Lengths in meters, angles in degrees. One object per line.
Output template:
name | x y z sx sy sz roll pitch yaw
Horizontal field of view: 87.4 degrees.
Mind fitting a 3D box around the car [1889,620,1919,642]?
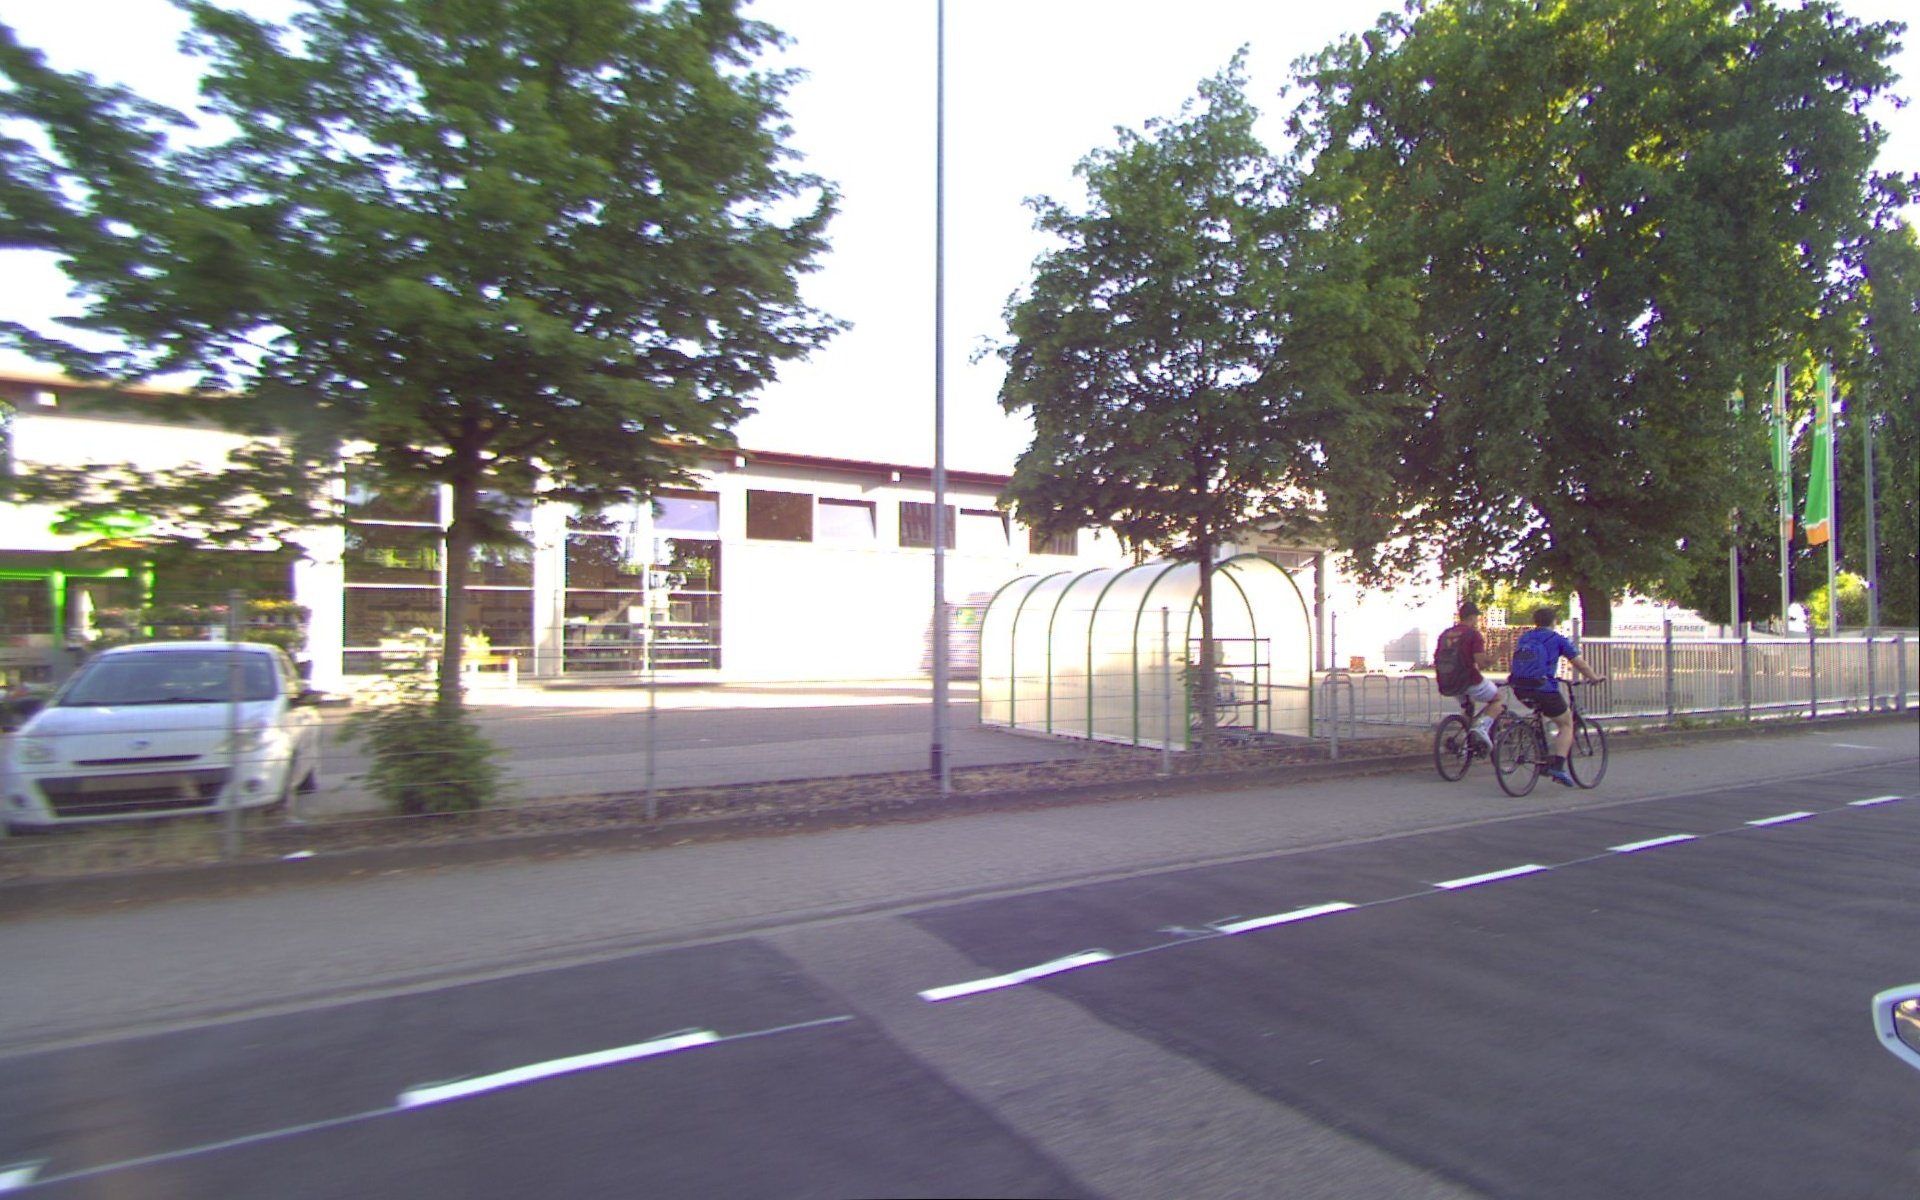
car | 63.011 2.003 64.843 2.027 1.415 4.136 1 -2 -33

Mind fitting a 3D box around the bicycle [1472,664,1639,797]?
bicycle | 5.995 1.259 10.070 2.175 1.164 0.443 1 0 -31

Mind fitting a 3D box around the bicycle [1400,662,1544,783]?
bicycle | 5.535 1.280 10.822 1.847 1.164 0.467 1 0 -31

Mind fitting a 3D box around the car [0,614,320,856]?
car | -6.466 1.006 8.470 1.766 1.530 3.869 1 -4 -32

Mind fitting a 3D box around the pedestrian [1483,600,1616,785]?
pedestrian | 5.876 0.886 10.023 1.045 1.743 0.717 1 -2 -30

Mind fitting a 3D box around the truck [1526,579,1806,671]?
truck | 31.010 1.082 44.838 2.744 3.662 10.049 2 -1 -30

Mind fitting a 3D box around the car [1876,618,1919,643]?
car | 60.977 1.939 63.534 2.027 1.599 4.136 1 -2 -33

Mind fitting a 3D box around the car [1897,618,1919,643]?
car | 64.837 2.026 66.253 1.945 1.684 4.137 1 -2 -32

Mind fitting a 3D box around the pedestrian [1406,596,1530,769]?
pedestrian | 5.413 0.852 10.714 1.045 1.743 0.717 1 -2 -30
